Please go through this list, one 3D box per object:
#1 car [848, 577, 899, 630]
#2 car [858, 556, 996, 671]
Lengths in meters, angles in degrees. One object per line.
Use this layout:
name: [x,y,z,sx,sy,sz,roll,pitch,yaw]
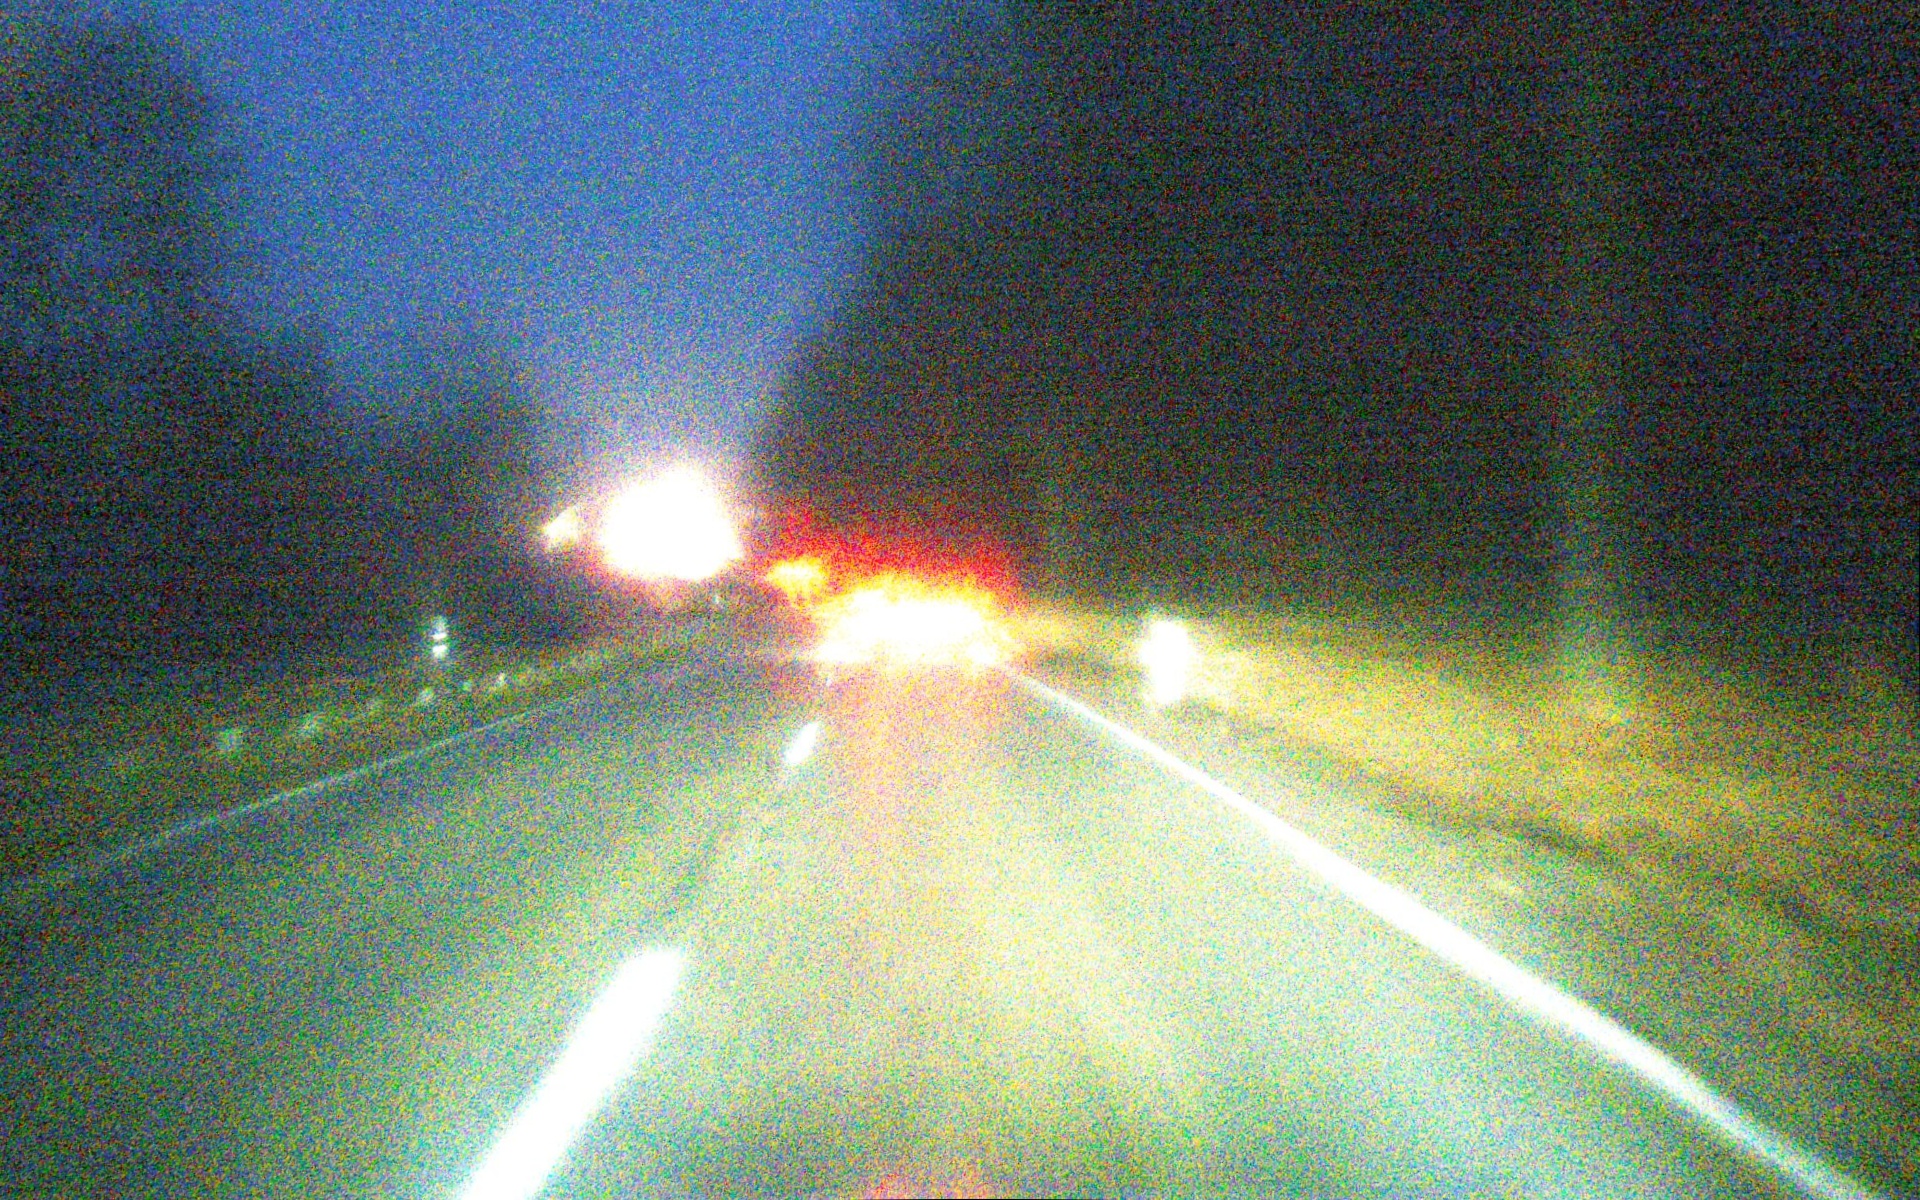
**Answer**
car: [-3.573,0.148,67.751,1.954,2.049,3.996,-2,0,-5]
car: [-0.626,0.227,31.621,2.408,1.992,4.910,-1,0,-1]
